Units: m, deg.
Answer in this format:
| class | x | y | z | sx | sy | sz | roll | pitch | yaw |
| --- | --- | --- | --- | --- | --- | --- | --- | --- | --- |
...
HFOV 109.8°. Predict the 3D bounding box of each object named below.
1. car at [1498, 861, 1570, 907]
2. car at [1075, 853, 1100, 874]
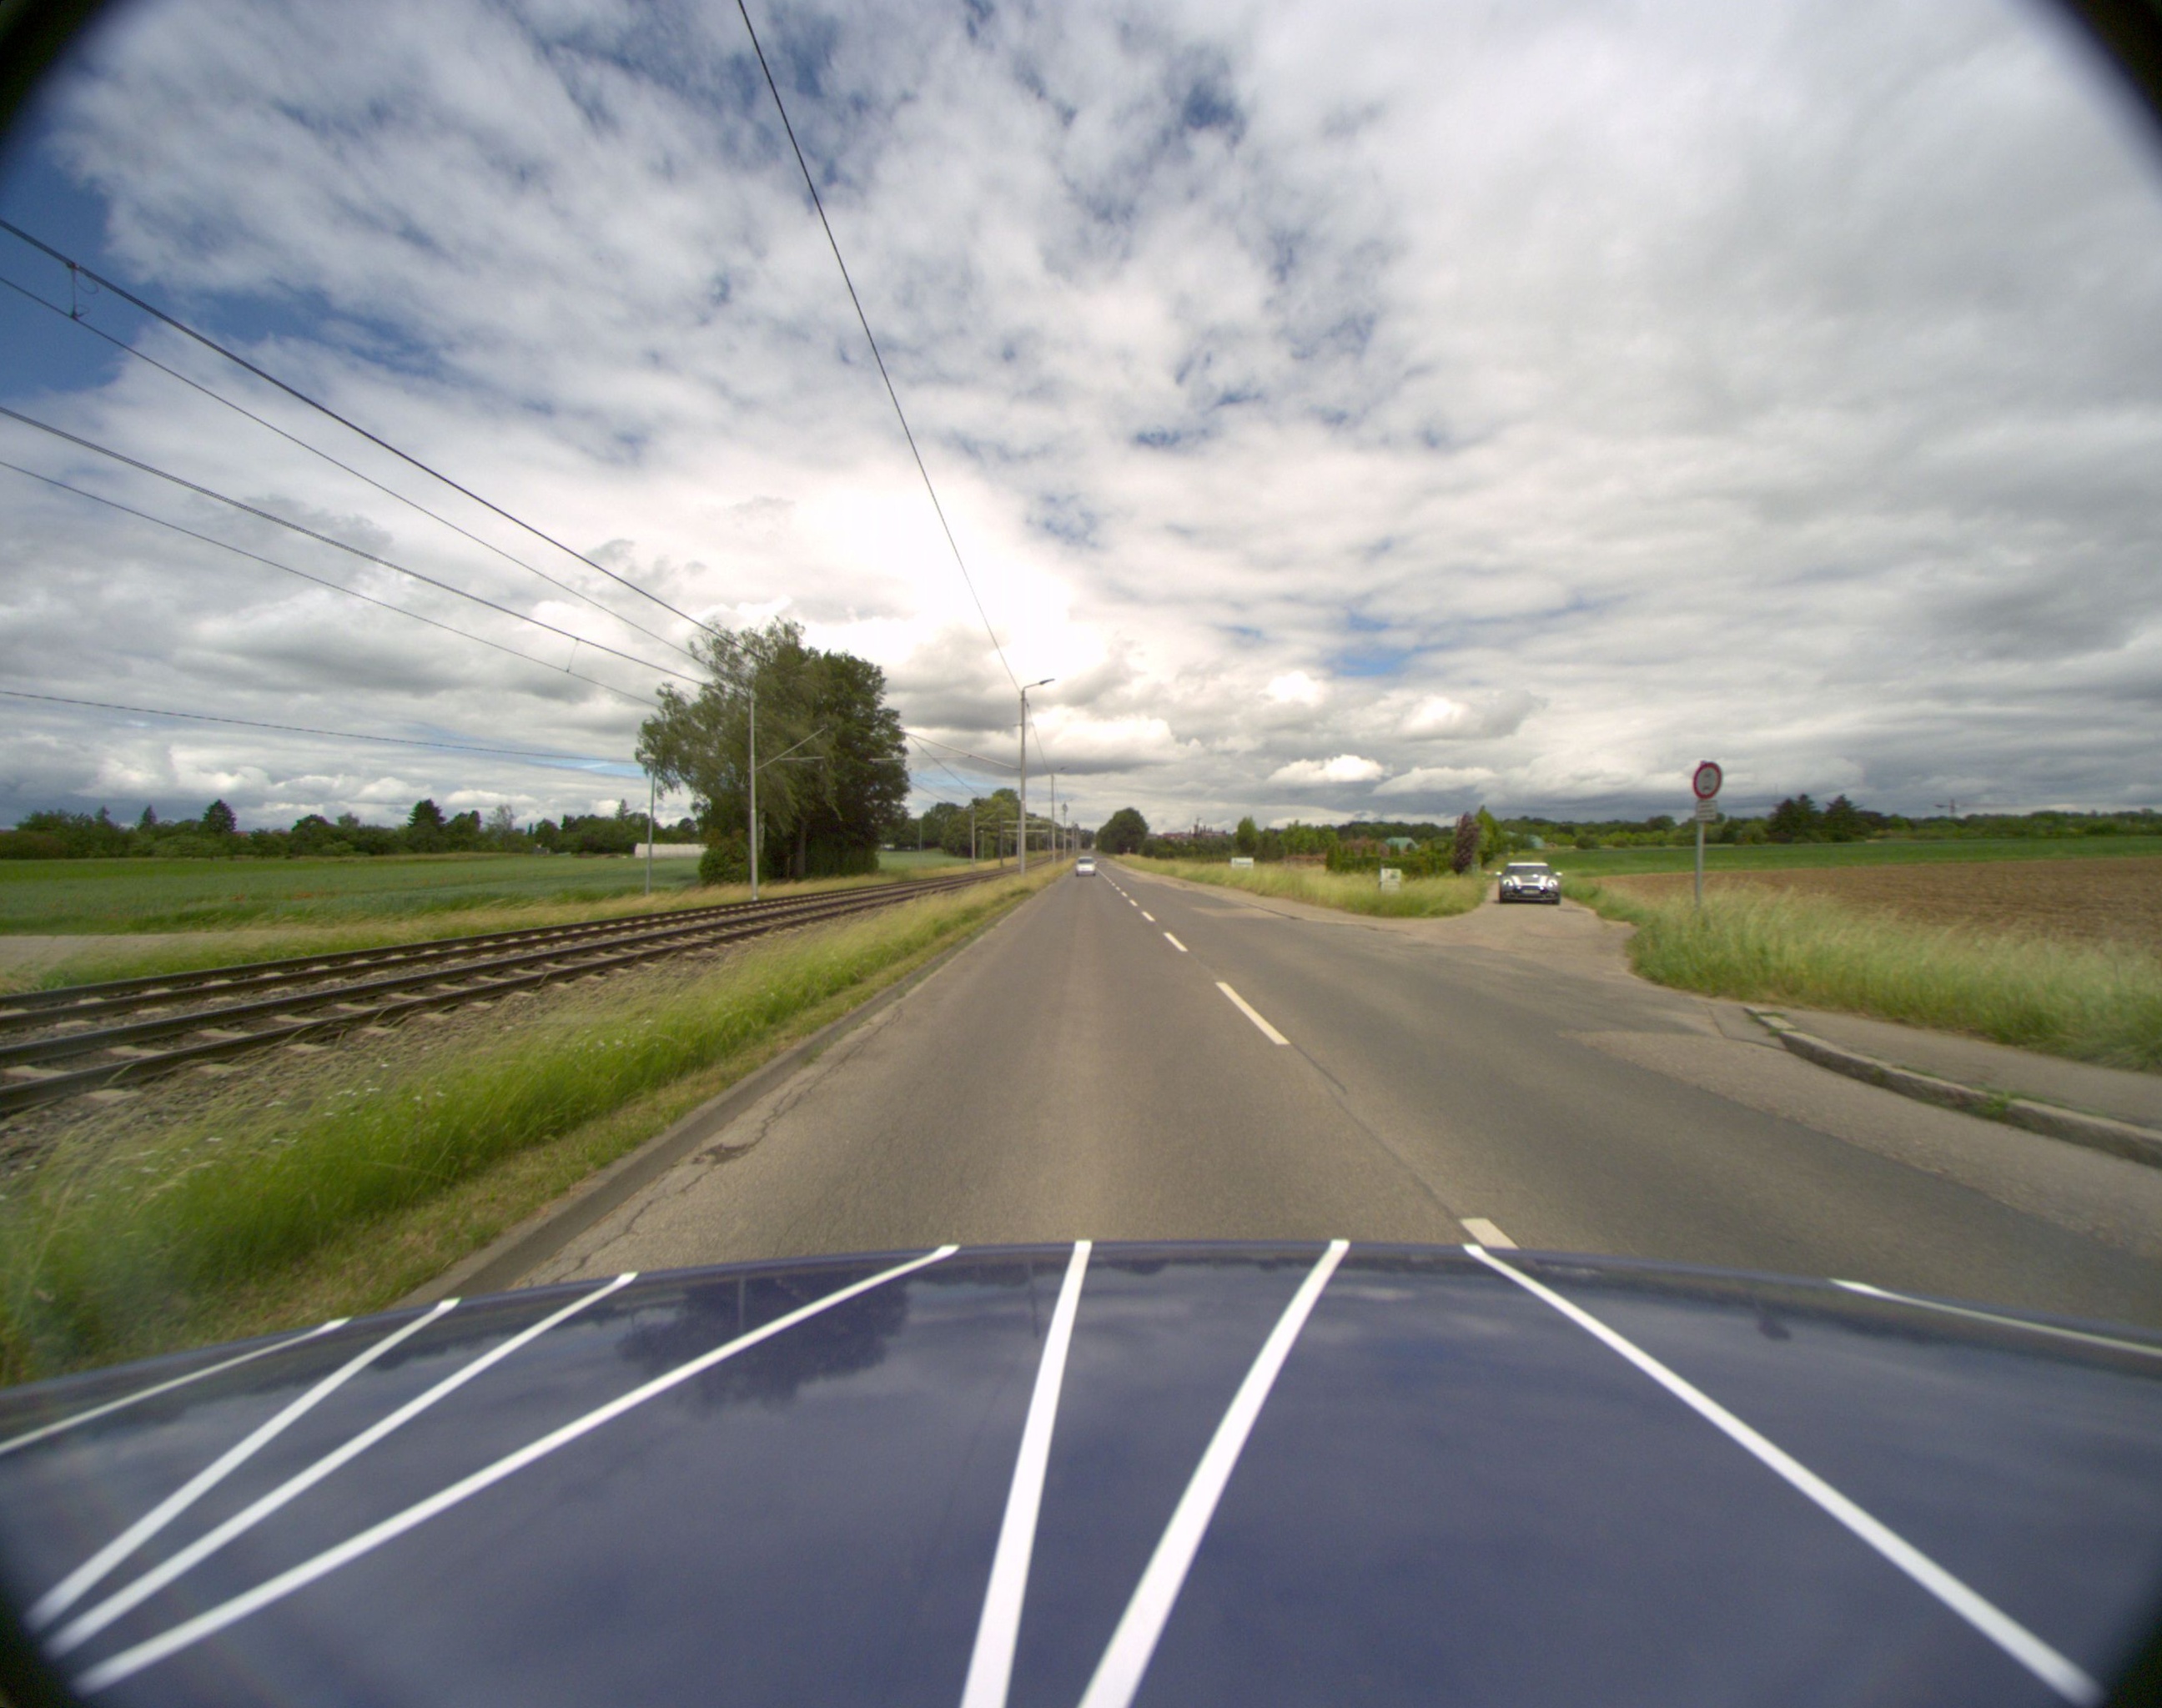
| class | x | y | z | sx | sy | sz | roll | pitch | yaw |
| --- | --- | --- | --- | --- | --- | --- | --- | --- | --- |
| car | 15.771 | 0.970 | 26.654 | 1.970 | 1.445 | 4.007 | 0 | 0 | 28 |
| car | 0.545 | 0.798 | 65.117 | 1.999 | 1.679 | 3.999 | -1 | 1 | -1 |
